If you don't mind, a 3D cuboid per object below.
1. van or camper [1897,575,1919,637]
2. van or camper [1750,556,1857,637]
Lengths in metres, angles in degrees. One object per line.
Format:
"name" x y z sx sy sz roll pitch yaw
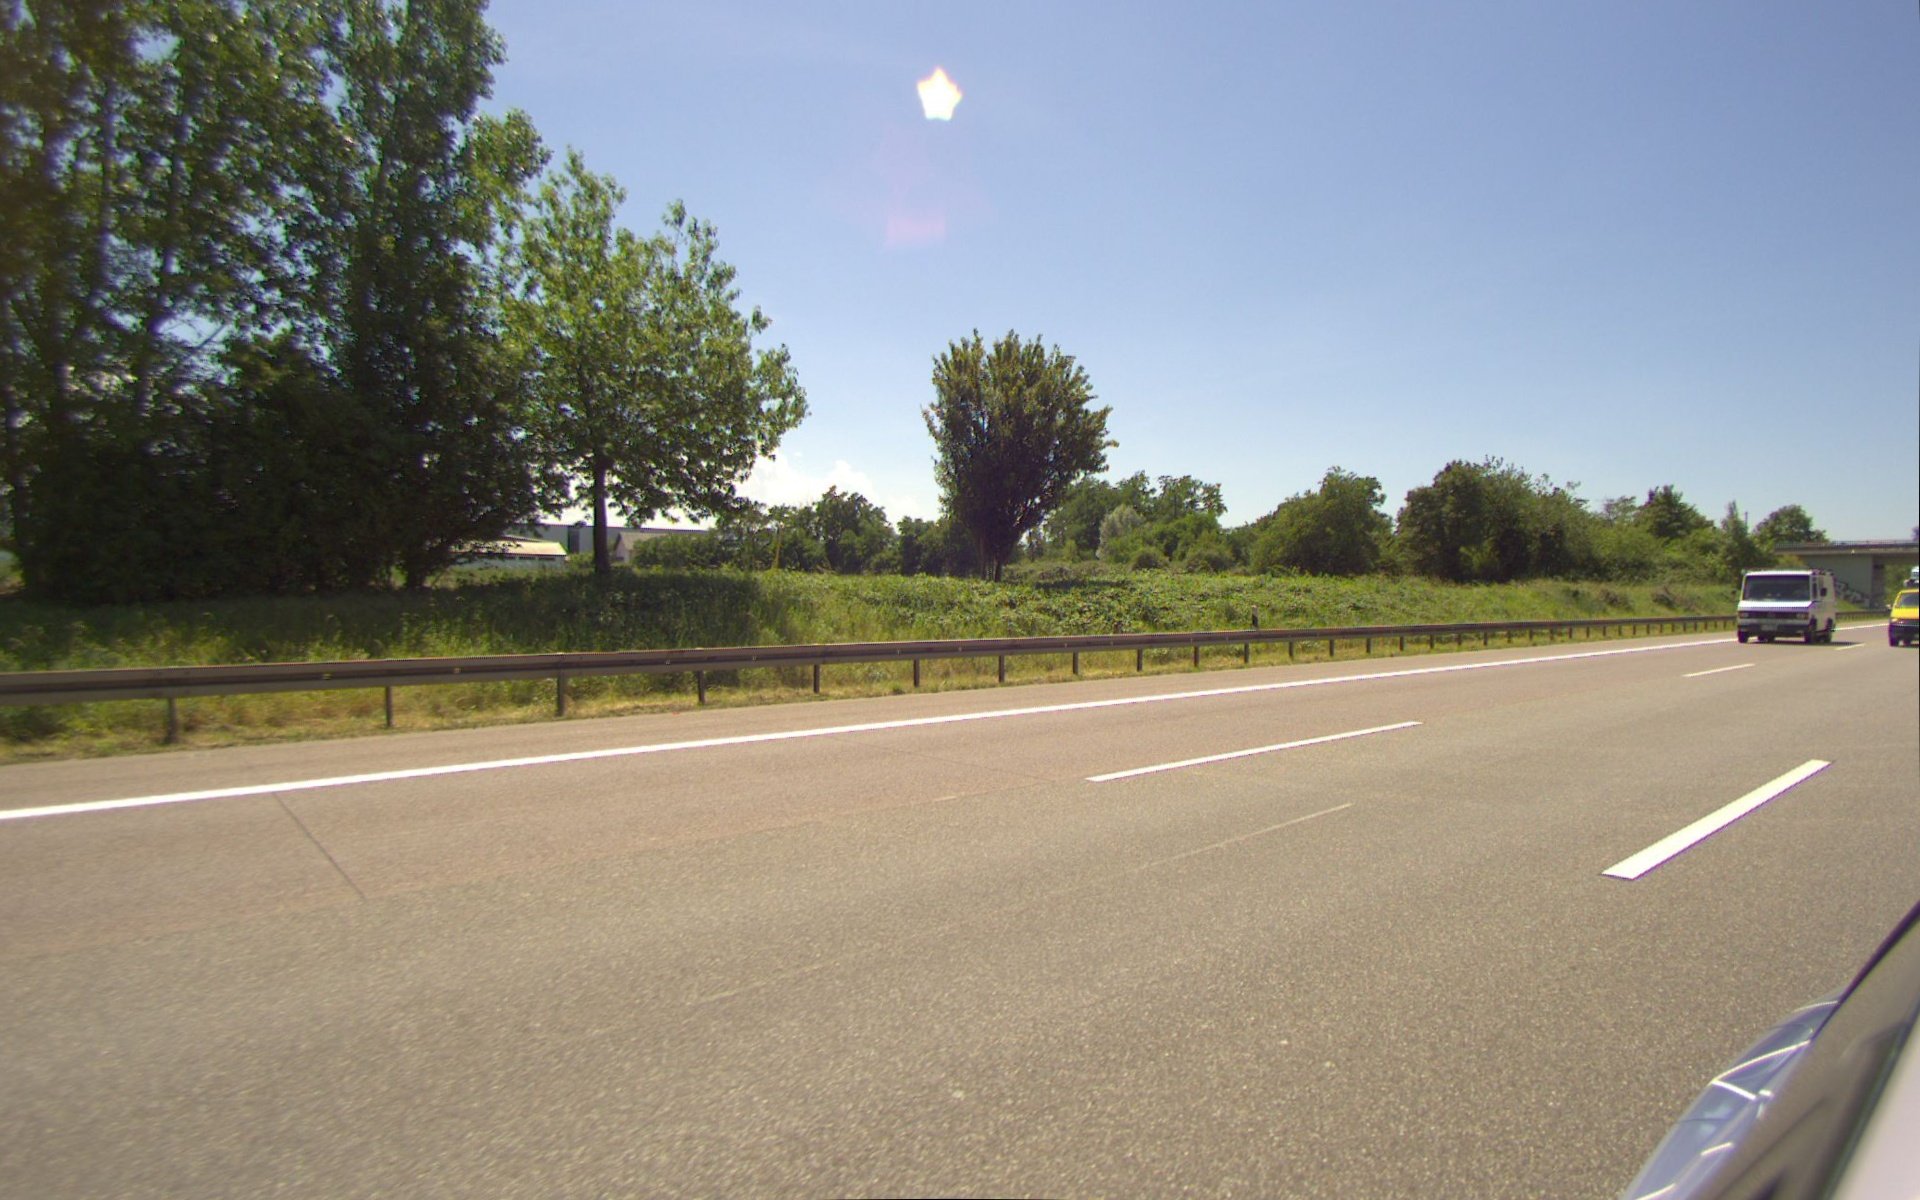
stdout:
"van or camper" 33.623 0.195 34.334 5.781 2.029 2.062 0 1 -41
"van or camper" 30.853 -0.131 36.930 6.258 2.737 2.116 0 0 -42
